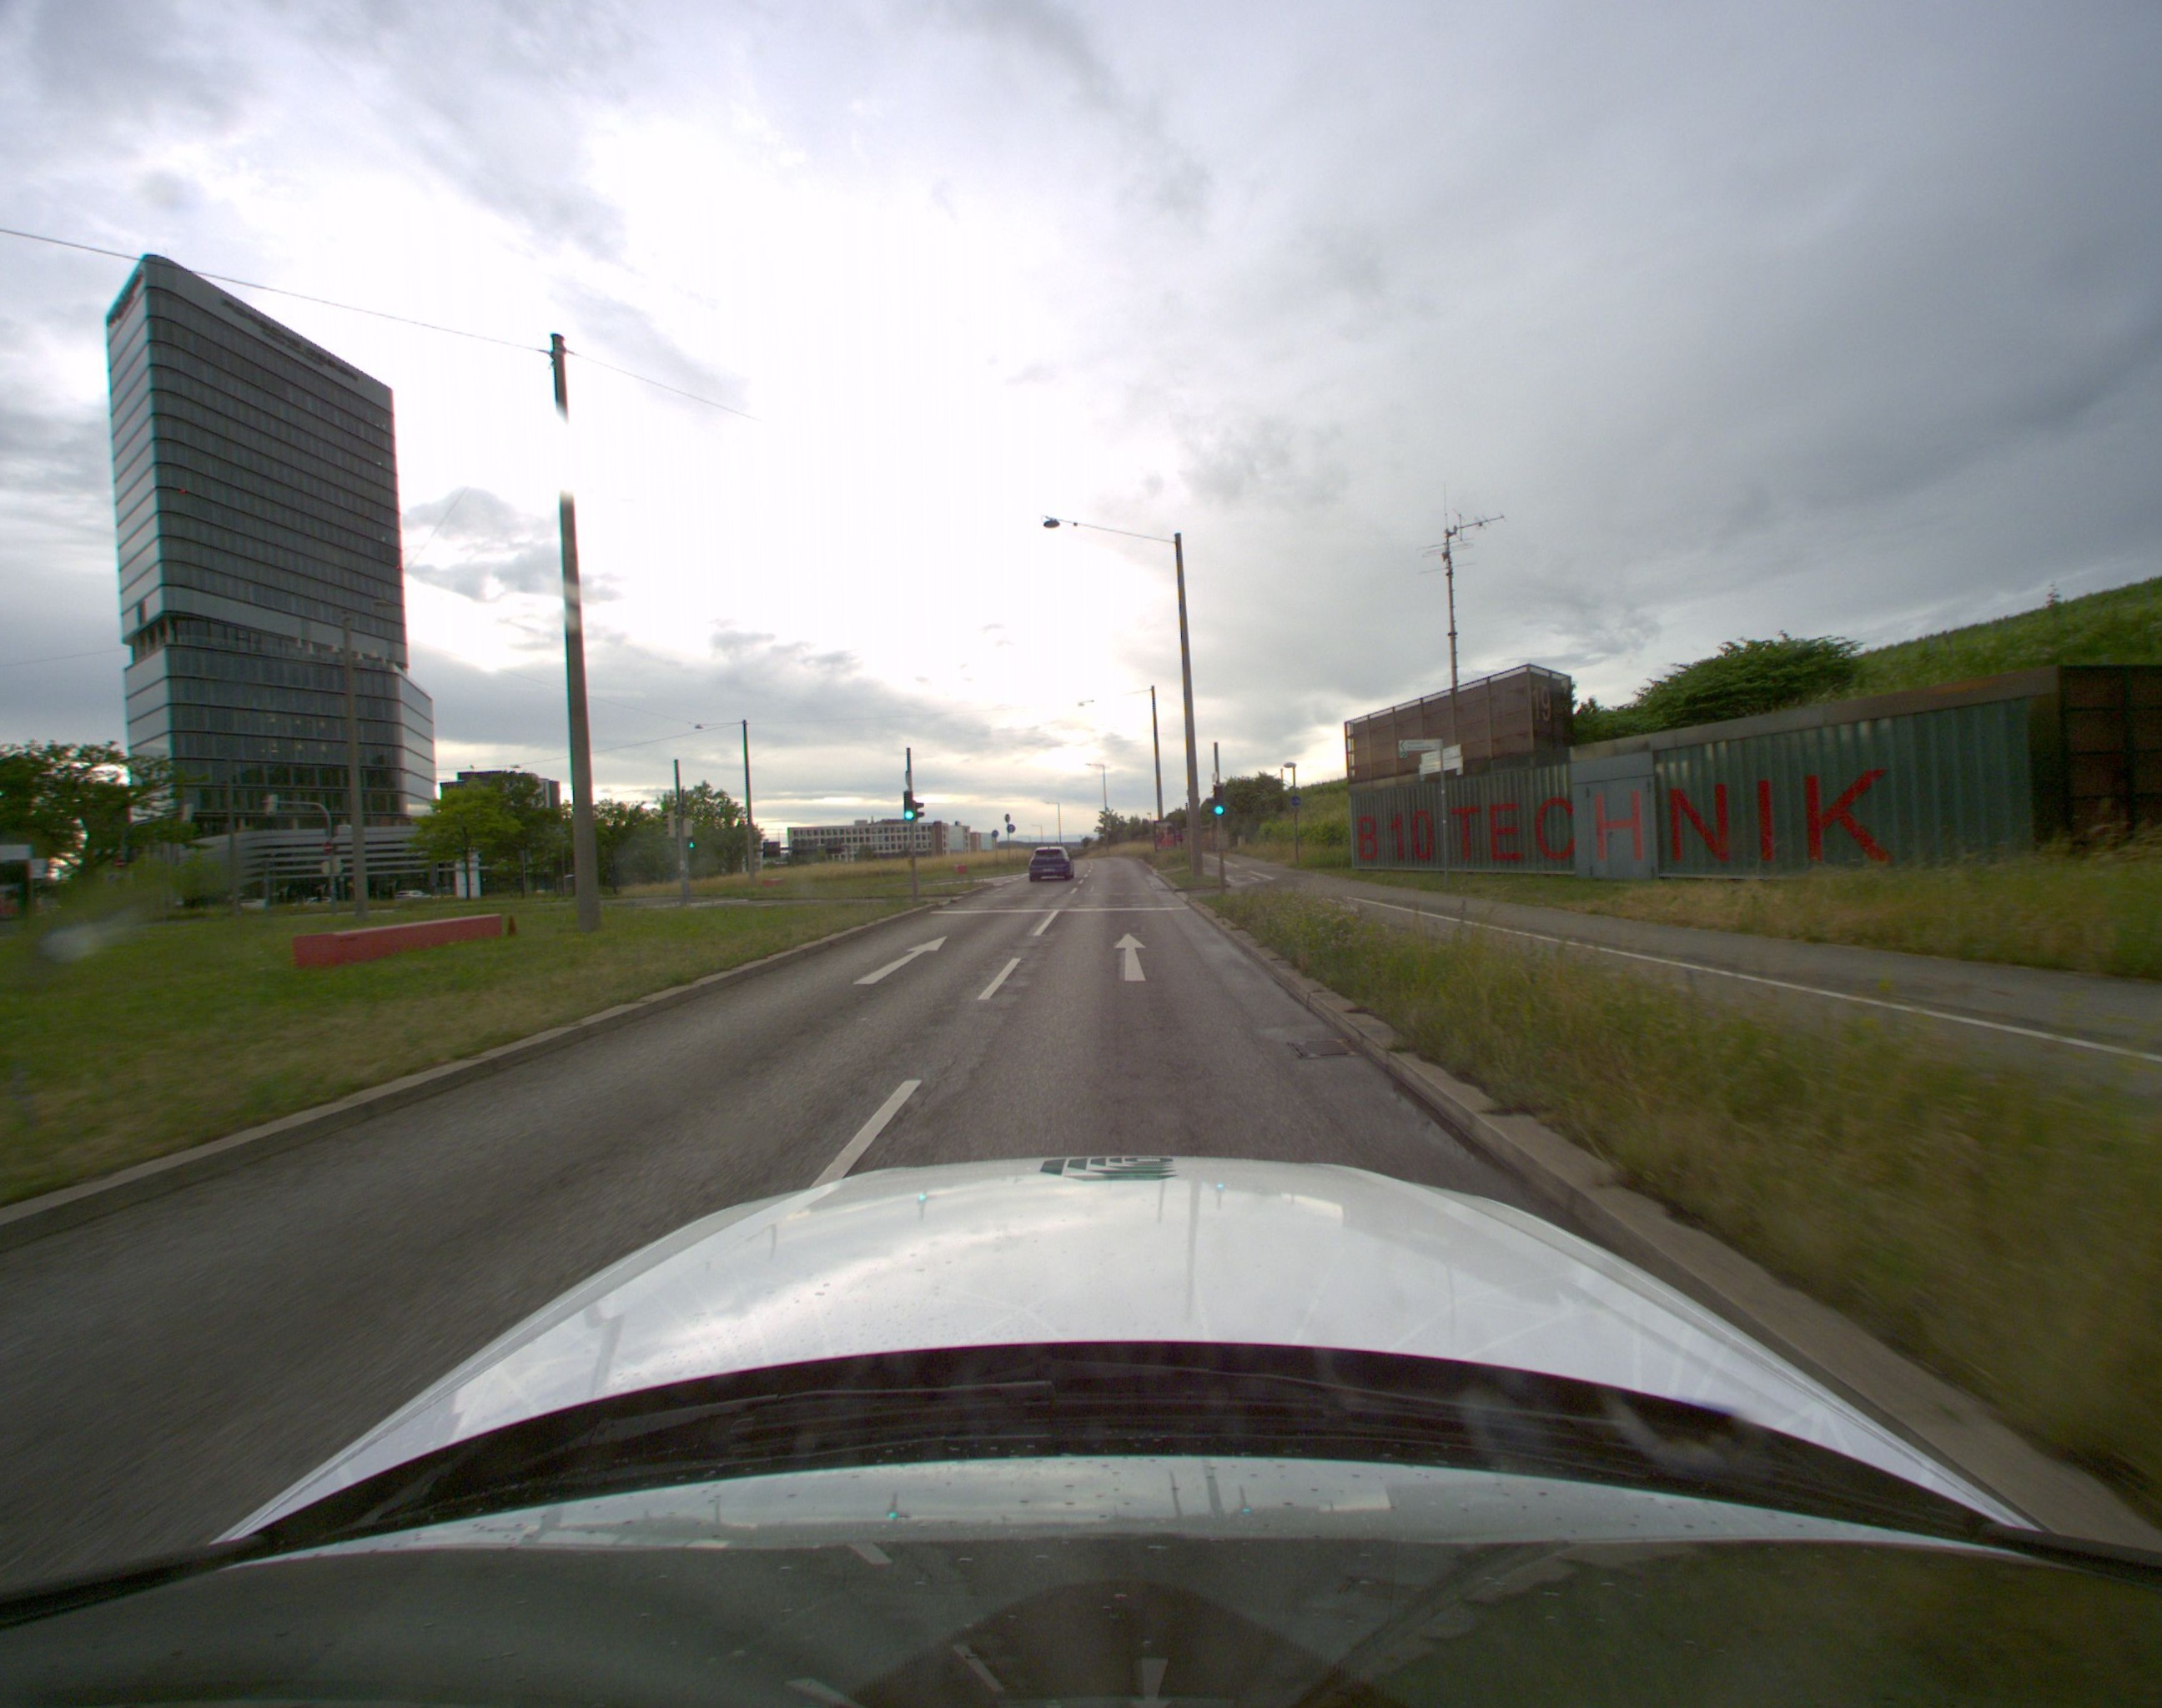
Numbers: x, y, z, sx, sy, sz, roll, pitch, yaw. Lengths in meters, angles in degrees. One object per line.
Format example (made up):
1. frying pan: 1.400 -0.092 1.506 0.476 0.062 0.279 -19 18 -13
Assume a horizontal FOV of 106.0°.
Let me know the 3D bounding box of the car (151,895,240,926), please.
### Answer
1. car: -54.331 3.442 50.059 3.591 1.561 1.627 -2 1 -44

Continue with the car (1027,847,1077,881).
1. car: -1.212 0.418 36.009 1.830 1.393 4.004 0 0 3

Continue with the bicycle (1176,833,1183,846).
1. bicycle: 8.276 -1.228 68.412 0.548 1.068 0.616 -2 1 4

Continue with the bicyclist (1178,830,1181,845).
1. bicyclist: 8.267 -1.397 68.399 0.264 1.196 0.316 -2 1 4
